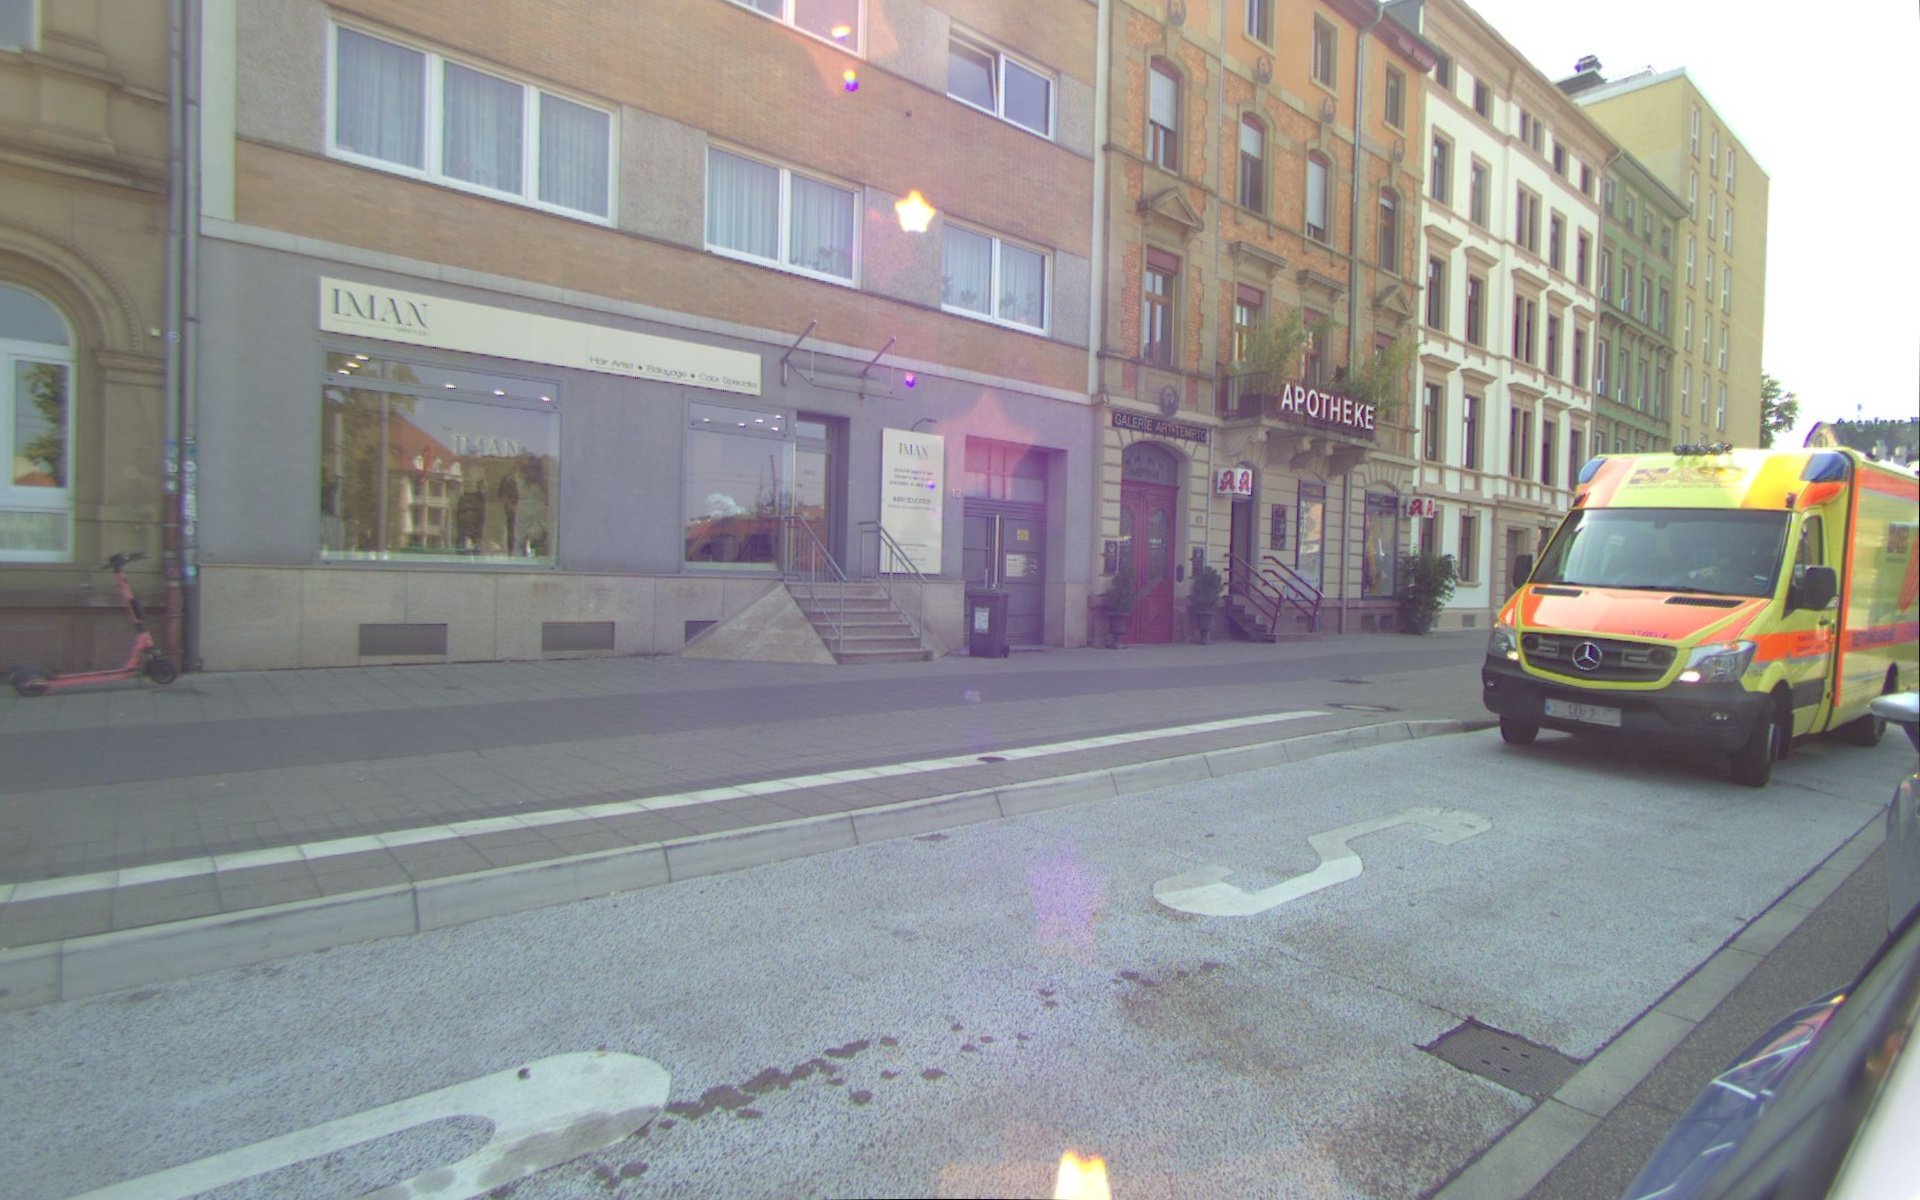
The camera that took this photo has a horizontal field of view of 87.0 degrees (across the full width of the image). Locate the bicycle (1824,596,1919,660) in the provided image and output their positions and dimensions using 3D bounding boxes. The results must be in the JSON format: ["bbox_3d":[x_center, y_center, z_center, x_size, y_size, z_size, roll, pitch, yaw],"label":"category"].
[{"bbox_3d":[18.666,0.544,20.408,0.427,1.235,1.841,1,0,-39],"label":"bicycle"}]

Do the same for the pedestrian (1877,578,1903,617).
[{"bbox_3d":[39.604,-0.112,43.095,0.783,1.648,0.645,0,2,-41],"label":"pedestrian"}]

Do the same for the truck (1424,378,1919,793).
[{"bbox_3d":[7.245,-0.175,9.652,6.221,2.803,2.336,0,4,-37],"label":"truck"}]

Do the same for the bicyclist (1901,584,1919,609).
[{"bbox_3d":[62.824,-0.239,66.884,1.083,1.606,0.721,1,1,-40],"label":"bicyclist"}]

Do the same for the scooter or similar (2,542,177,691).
[{"bbox_3d":[-7.644,0.127,8.908,0.476,1.227,1.124,3,2,45],"label":"scooter or similar"}]

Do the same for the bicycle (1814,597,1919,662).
[{"bbox_3d":[17.982,0.567,19.851,0.427,1.219,1.841,1,0,-39],"label":"bicycle"}]

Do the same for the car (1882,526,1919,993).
[{"bbox_3d":[5.299,0.563,4.162,3.929,1.608,1.728,0,1,-40],"label":"car"}]

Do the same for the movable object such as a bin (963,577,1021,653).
[{"bbox_3d":[0.499,0.220,15.656,0.640,1.118,0.723,3,2,24],"label":"movable object such as a bin"}]

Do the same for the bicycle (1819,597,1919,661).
[{"bbox_3d":[18.319,0.561,20.116,0.427,1.219,1.841,1,0,-39],"label":"bicycle"}]

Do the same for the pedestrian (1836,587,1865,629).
[{"bbox_3d":[38.096,0.332,43.299,0.782,1.780,0.689,1,2,-36],"label":"pedestrian"}]
